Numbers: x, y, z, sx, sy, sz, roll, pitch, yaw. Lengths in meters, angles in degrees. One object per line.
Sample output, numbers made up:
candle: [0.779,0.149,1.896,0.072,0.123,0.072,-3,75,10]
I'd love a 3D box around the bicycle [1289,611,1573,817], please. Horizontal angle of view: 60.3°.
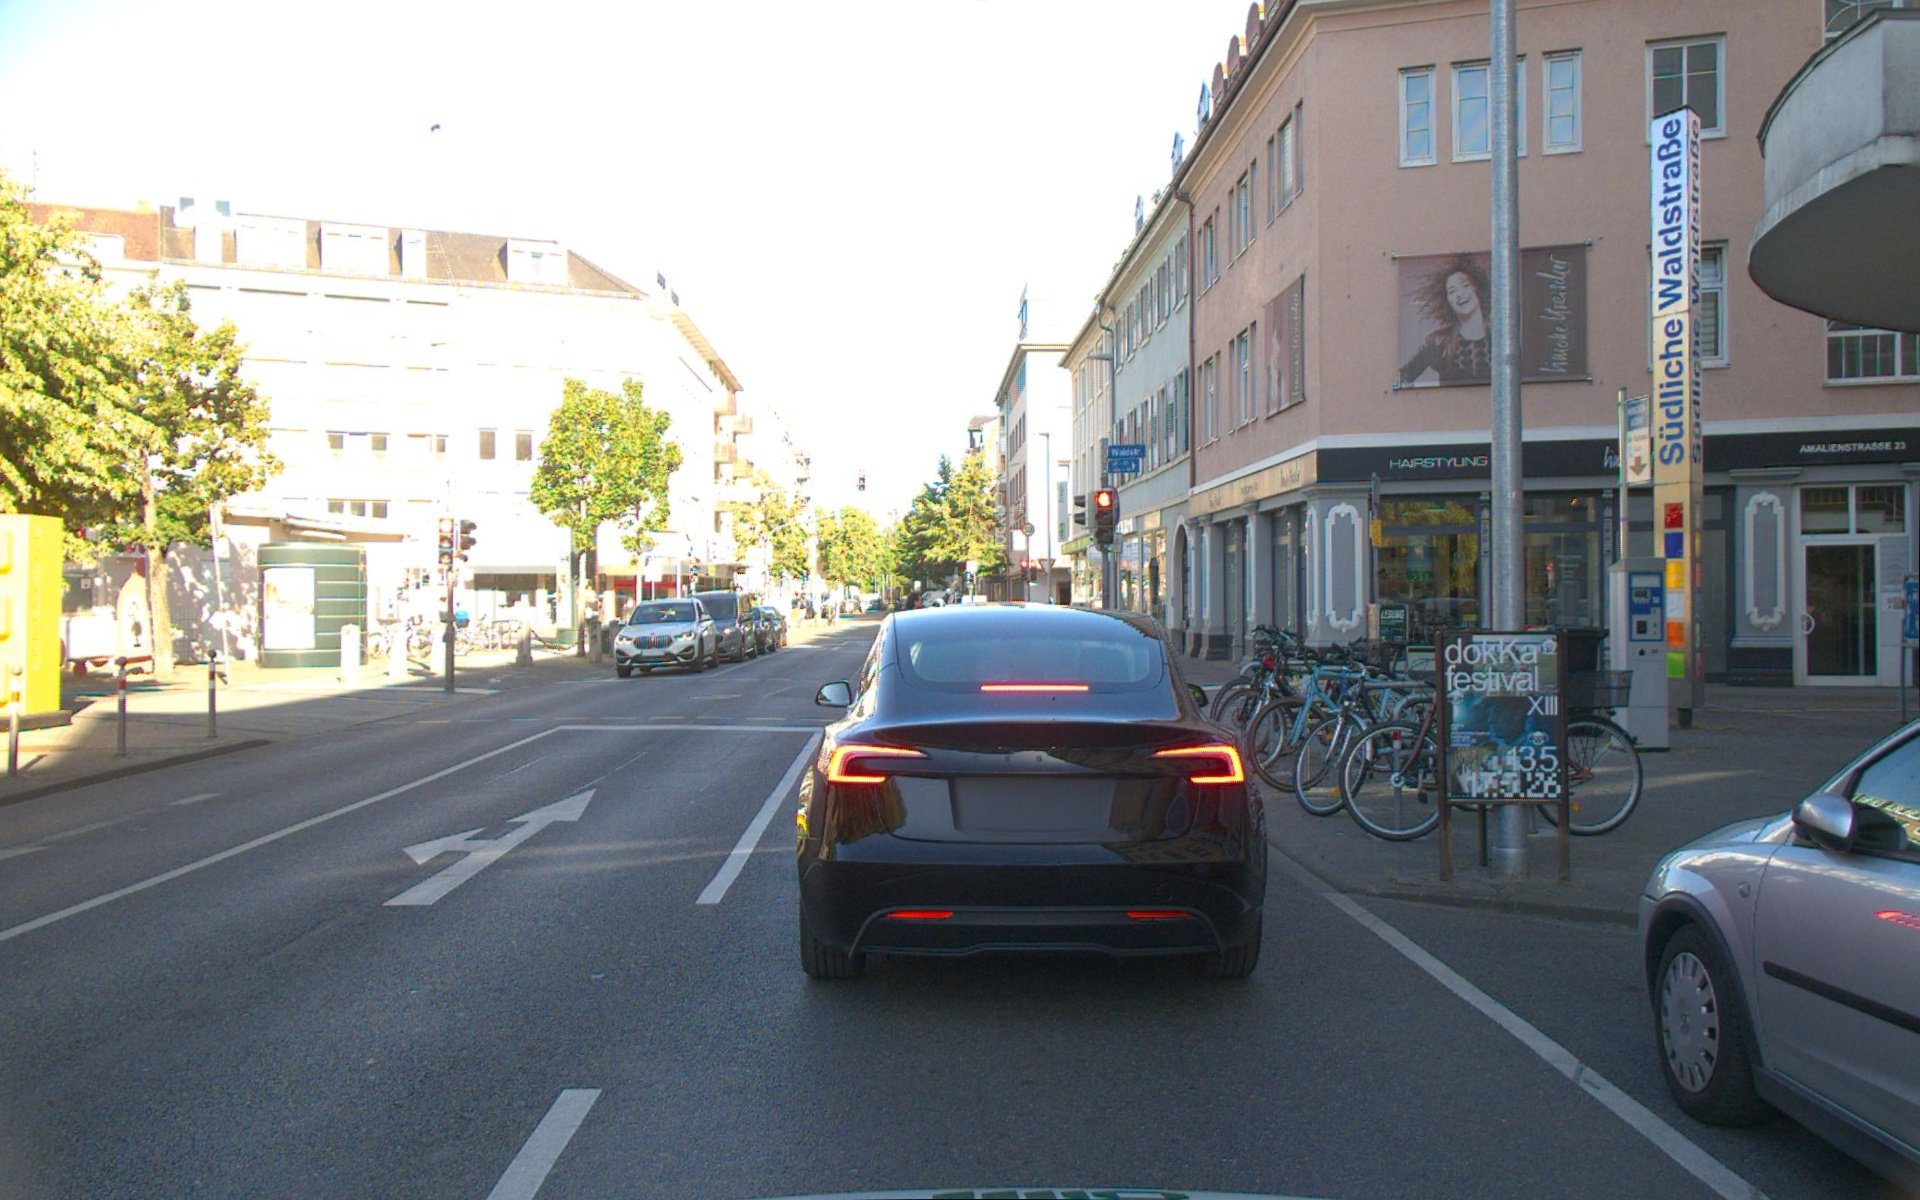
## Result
bicycle: [3.141,0.749,11.166,1.686,1.290,0.791,-2,0,5]

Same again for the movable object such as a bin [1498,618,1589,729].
movable object such as a bin: [6.024,0.750,17.111,0.718,1.111,0.627,1,0,1]

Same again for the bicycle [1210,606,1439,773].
bicycle: [2.989,0.721,13.694,1.709,1.289,0.781,-2,0,2]

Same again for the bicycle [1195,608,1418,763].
bicycle: [3.054,0.748,14.725,1.822,1.280,0.833,-2,0,5]

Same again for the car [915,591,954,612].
car: [-2.580,0.157,167.524,3.907,2.049,1.999,0,0,-2]

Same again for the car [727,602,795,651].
car: [-6.806,0.872,56.917,1.954,1.461,4.671,-4,0,-3]

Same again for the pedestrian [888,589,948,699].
pedestrian: [-0.615,0.627,24.000,0.734,1.579,0.696,0,0,-14]

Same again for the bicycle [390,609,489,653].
bicycle: [-14.105,0.843,44.896,2.412,1.176,0.842,0,0,-2]

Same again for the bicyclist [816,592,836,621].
bicyclist: [-7.719,0.371,95.502,1.104,1.657,0.964,0,0,-4]

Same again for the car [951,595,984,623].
car: [0.433,0.535,100.825,1.953,1.657,3.999,0,0,-1]

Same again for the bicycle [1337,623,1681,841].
bicycle: [3.287,0.783,10.036,1.846,1.214,0.692,-2,1,5]

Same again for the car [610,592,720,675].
car: [-6.380,0.688,36.224,1.771,1.582,4.307,-4,0,-3]

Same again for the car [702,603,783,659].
car: [-6.423,0.884,49.332,1.954,1.434,4.671,-4,0,-3]

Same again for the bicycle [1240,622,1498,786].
bicycle: [3.058,0.771,12.516,1.760,1.144,0.782,-2,0,5]

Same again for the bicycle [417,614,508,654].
bicycle: [-14.891,1.015,49.573,2.485,1.176,0.841,0,0,-6]

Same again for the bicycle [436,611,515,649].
bicycle: [-15.215,0.942,51.996,2.279,1.176,0.841,0,0,-6]

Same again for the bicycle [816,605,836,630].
bicycle: [-7.703,0.998,95.409,1.089,1.368,3.997,0,0,-4]

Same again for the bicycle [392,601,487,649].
bicycle: [-14.713,0.698,46.819,2.429,1.347,0.921,0,0,-6]

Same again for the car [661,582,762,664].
car: [-6.315,0.534,42.511,1.797,1.877,4.674,-4,0,0]

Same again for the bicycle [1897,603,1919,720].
bicycle: [10.269,0.640,17.028,0.645,1.220,2.212,0,0,18]

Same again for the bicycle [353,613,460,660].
bicycle: [-14.194,0.923,42.440,2.455,1.176,0.842,0,0,-2]

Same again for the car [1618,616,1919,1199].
car: [2.933,0.778,3.526,1.580,1.406,3.642,1,0,0]

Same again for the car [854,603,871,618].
car: [-10.995,1.211,186.900,1.954,1.666,3.997,0,0,-4]

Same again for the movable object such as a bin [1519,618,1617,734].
movable object such as a bin: [6.045,0.748,16.473,0.737,1.111,0.627,1,0,1]

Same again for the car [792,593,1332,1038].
car: [0.315,0.724,7.542,1.810,1.480,3.999,0,0,-1]

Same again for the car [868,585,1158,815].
car: [0.289,0.667,13.214,1.953,1.538,4.173,0,0,-2]
